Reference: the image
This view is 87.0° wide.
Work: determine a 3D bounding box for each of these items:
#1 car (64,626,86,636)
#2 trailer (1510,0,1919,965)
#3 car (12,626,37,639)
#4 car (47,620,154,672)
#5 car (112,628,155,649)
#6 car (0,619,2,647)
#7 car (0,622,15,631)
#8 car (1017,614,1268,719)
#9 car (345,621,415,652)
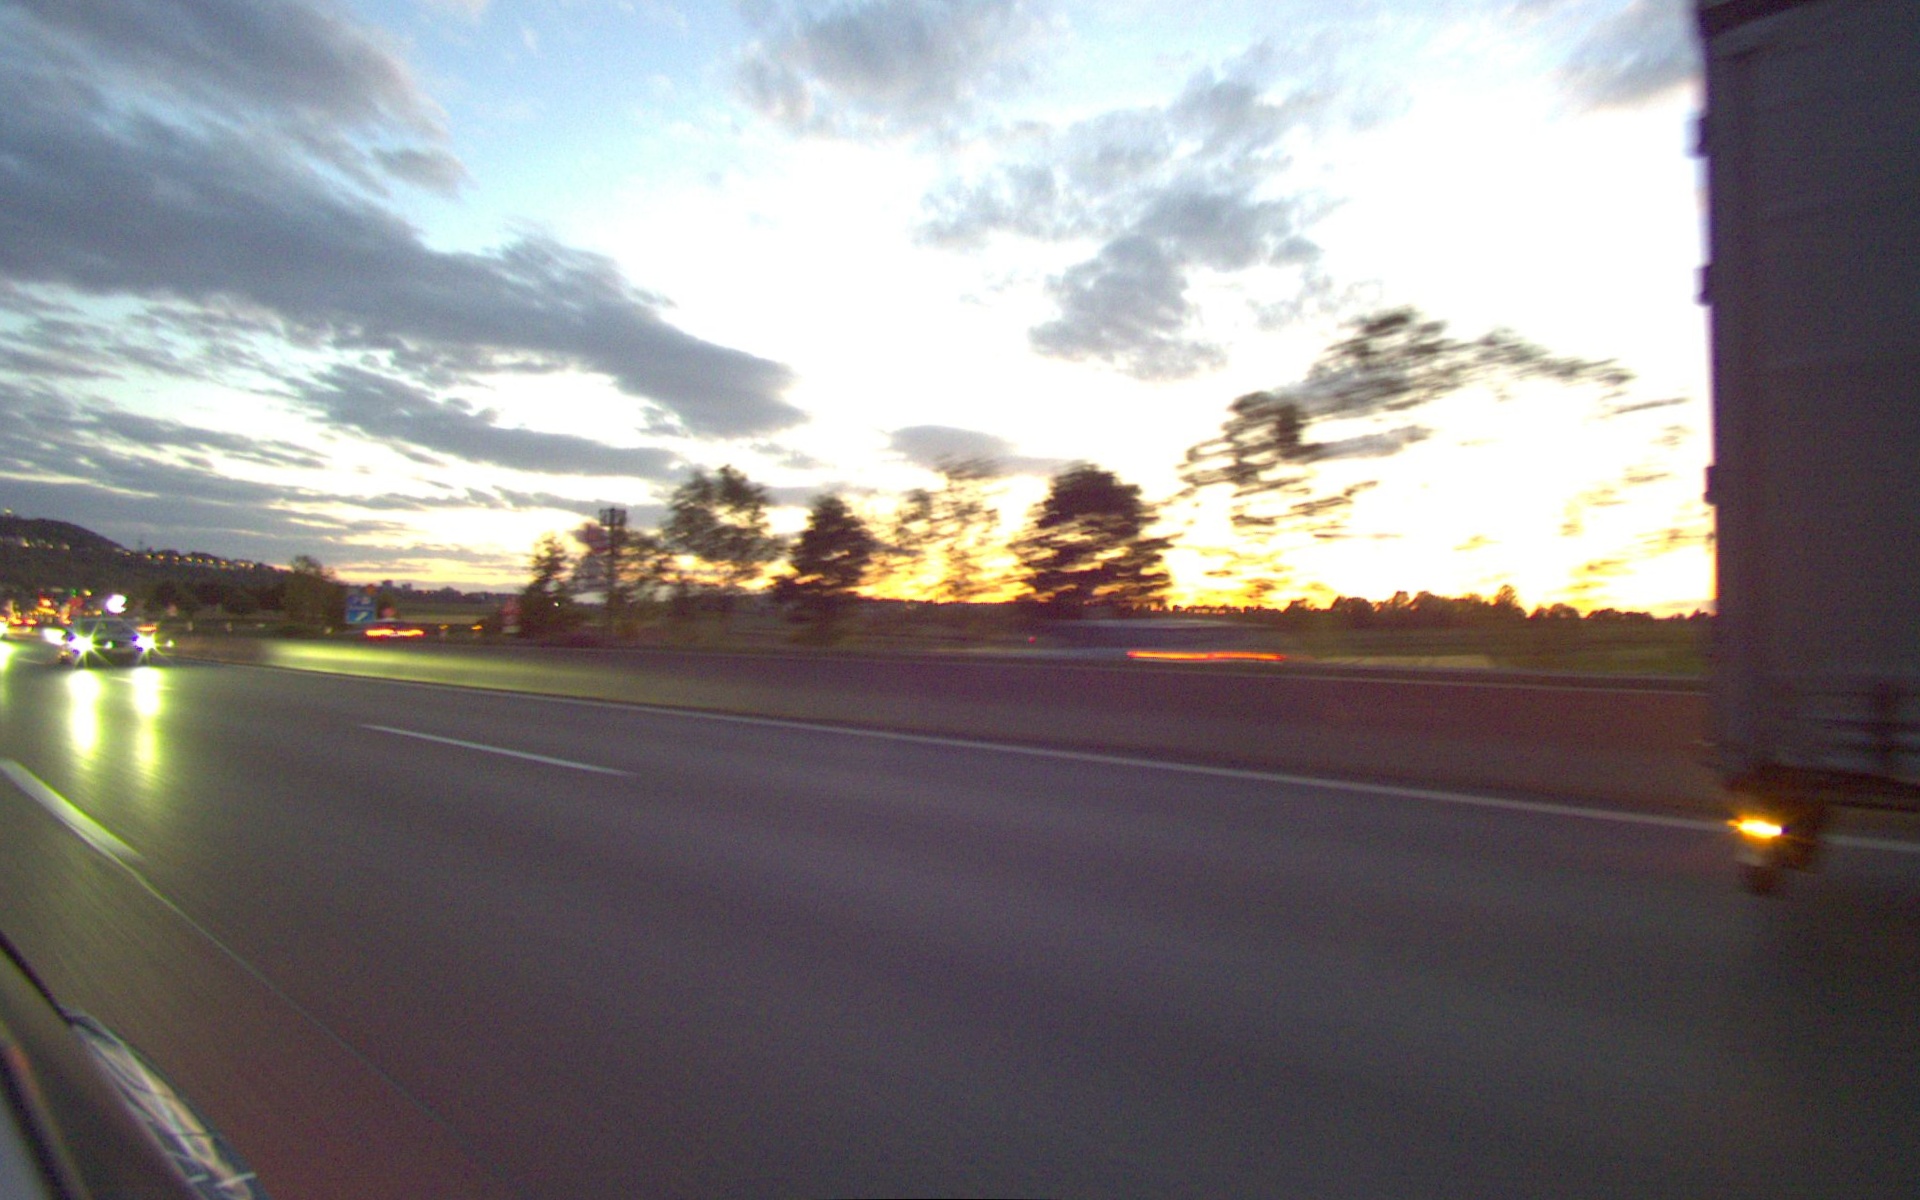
[{"bbox_3d":[-116.668,4.042,133.357,3.998,1.187,1.700,0,0,41],"label":"car"},{"bbox_3d":[8.717,-0.793,0.604,14.522,4.116,2.764,0,-1,42],"label":"trailer"},{"bbox_3d":[-102.645,3.525,111.033,3.643,1.299,1.637,0,0,41],"label":"car"},{"bbox_3d":[-27.448,1.406,32.245,5.392,1.448,1.795,0,0,41],"label":"car"},{"bbox_3d":[-57.398,2.658,70.254,3.998,1.257,1.685,0,0,41],"label":"car"},{"bbox_3d":[-60.271,2.031,62.037,4.854,1.660,1.795,0,0,41],"label":"car"},{"bbox_3d":[-143.247,4.005,151.658,3.998,1.187,1.911,0,0,41],"label":"car"},{"bbox_3d":[3.092,1.055,17.621,3.998,1.558,1.714,0,0,41],"label":"car"},{"bbox_3d":[-28.522,1.776,49.712,4.109,1.372,1.726,0,0,41],"label":"car"}]
